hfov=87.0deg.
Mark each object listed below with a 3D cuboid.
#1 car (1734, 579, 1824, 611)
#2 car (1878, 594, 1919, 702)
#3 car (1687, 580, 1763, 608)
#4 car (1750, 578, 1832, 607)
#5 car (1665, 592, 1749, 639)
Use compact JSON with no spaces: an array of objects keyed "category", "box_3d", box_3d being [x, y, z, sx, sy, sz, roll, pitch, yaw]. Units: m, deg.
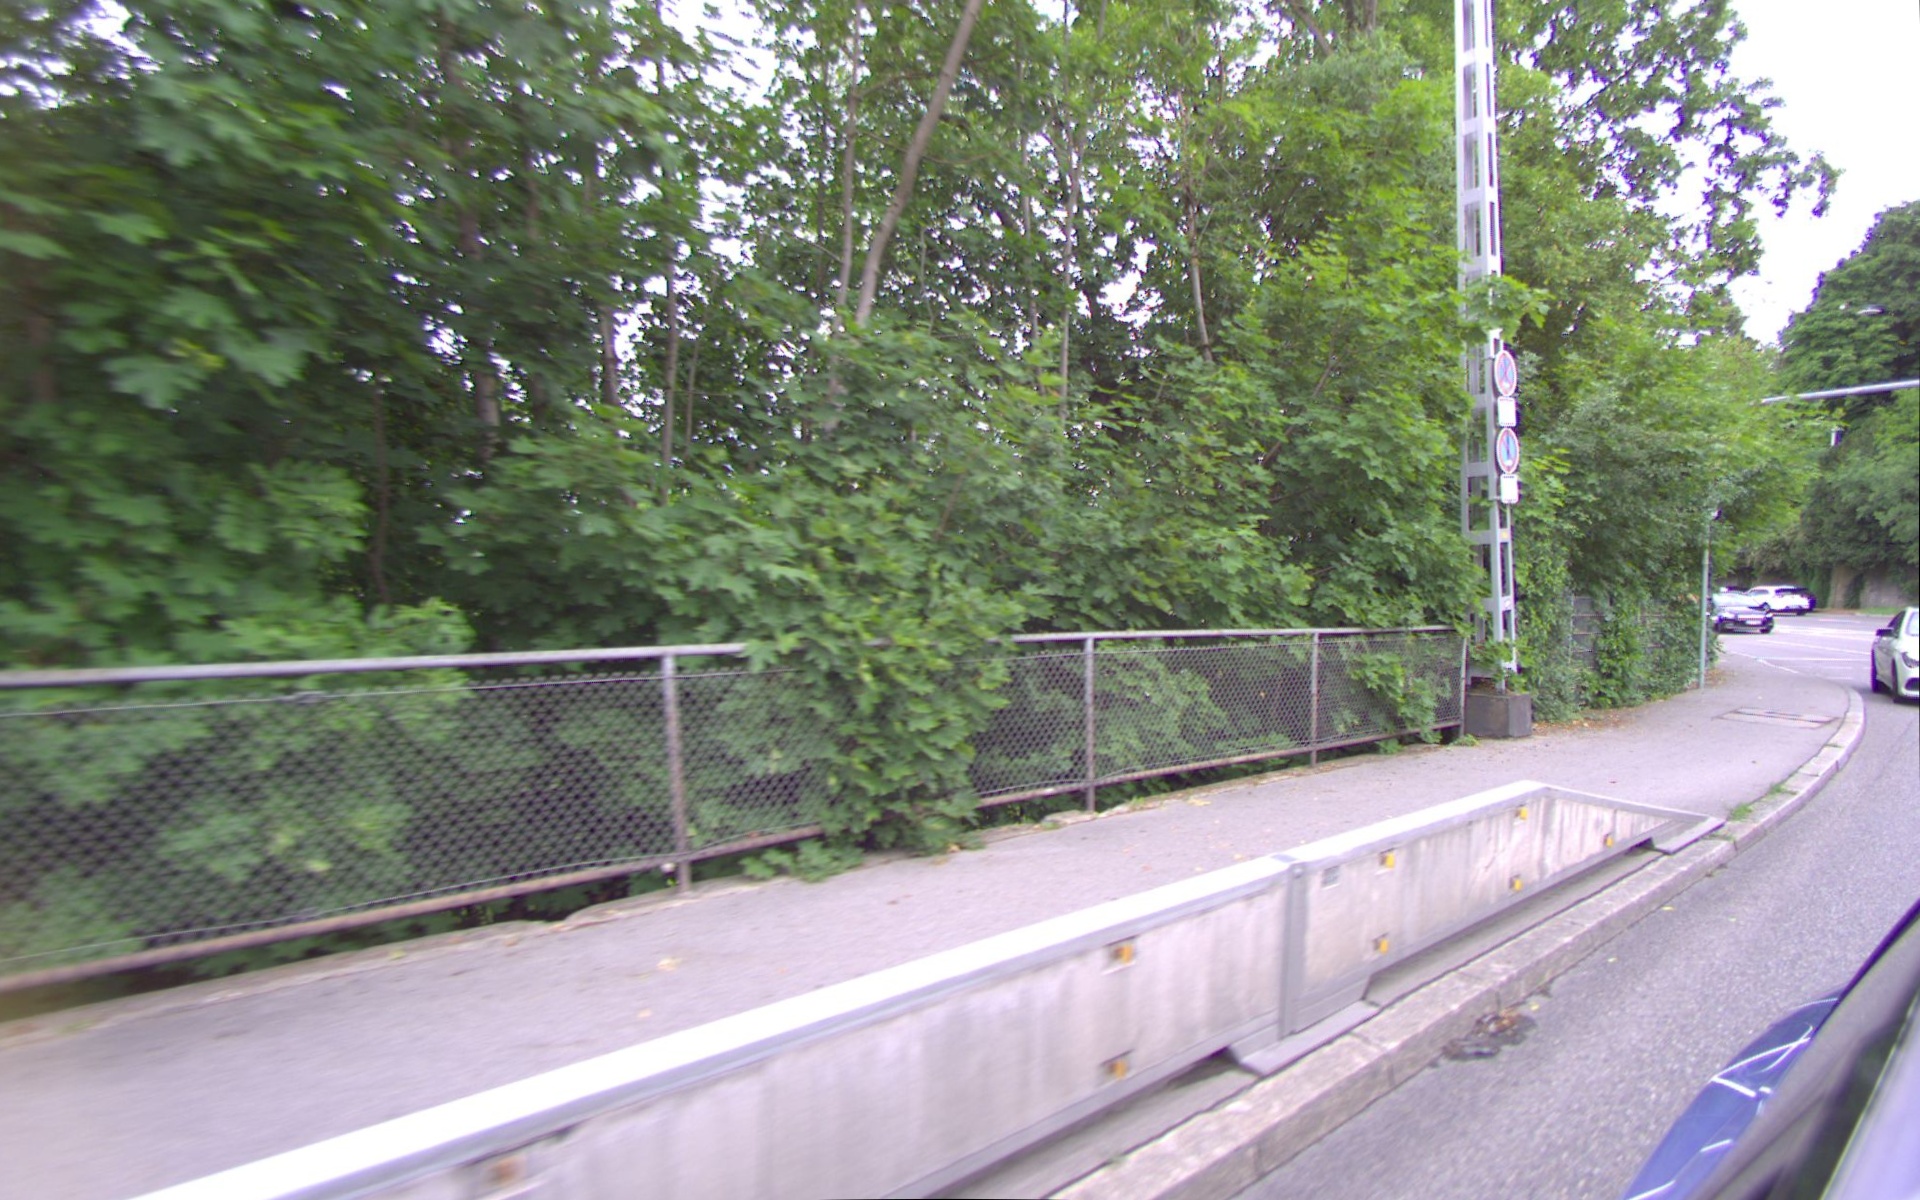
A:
[{"category":"car","box_3d":[43.432,-0.270,53.807,1.859,1.587,4.374,-1,0,11]},{"category":"car","box_3d":[14.967,0.638,14.880,1.808,1.416,3.946,-1,0,38]},{"category":"car","box_3d":[48.006,-0.370,63.597,1.753,1.649,4.166,-2,0,4]},{"category":"car","box_3d":[47.111,-0.413,57.477,1.690,1.548,4.288,-2,0,10]},{"category":"car","box_3d":[27.208,0.527,36.968,1.761,1.561,3.963,-2,0,27]}]
